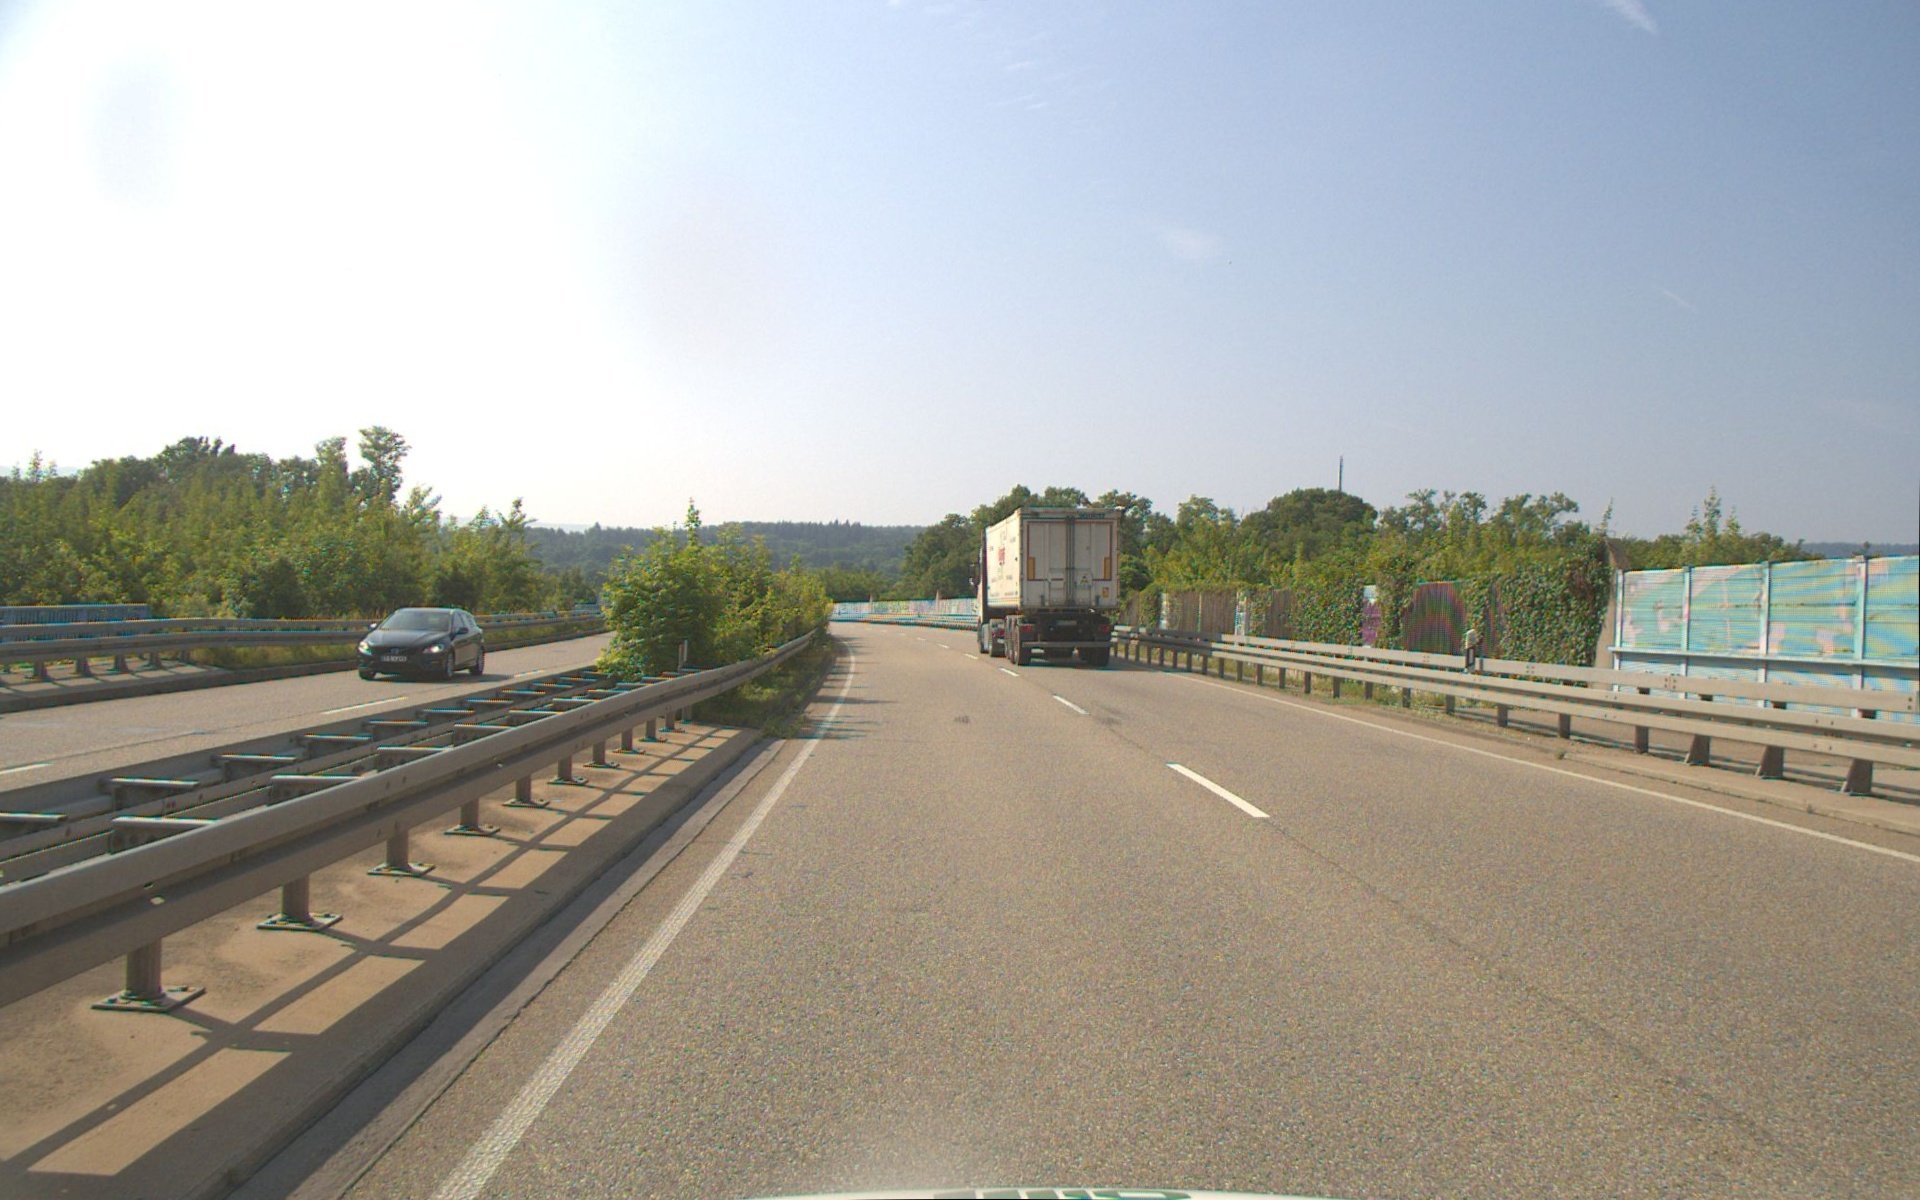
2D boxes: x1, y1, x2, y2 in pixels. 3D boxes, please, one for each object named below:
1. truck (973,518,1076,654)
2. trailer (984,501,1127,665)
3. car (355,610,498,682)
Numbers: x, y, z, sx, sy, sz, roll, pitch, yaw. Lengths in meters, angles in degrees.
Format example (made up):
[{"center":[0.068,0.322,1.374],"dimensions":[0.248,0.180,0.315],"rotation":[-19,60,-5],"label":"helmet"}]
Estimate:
[{"center":[1.933,-0.429,51.804],"dimensions":[2.606,3.964,5.643],"rotation":[1,0,-4],"label":"truck"},{"center":[2.400,-0.413,45.073],"dimensions":[2.626,3.975,9.664],"rotation":[1,0,-4],"label":"trailer"},{"center":[-11.319,0.939,35.406],"dimensions":[1.673,1.393,4.833],"rotation":[1,0,-3],"label":"car"}]
